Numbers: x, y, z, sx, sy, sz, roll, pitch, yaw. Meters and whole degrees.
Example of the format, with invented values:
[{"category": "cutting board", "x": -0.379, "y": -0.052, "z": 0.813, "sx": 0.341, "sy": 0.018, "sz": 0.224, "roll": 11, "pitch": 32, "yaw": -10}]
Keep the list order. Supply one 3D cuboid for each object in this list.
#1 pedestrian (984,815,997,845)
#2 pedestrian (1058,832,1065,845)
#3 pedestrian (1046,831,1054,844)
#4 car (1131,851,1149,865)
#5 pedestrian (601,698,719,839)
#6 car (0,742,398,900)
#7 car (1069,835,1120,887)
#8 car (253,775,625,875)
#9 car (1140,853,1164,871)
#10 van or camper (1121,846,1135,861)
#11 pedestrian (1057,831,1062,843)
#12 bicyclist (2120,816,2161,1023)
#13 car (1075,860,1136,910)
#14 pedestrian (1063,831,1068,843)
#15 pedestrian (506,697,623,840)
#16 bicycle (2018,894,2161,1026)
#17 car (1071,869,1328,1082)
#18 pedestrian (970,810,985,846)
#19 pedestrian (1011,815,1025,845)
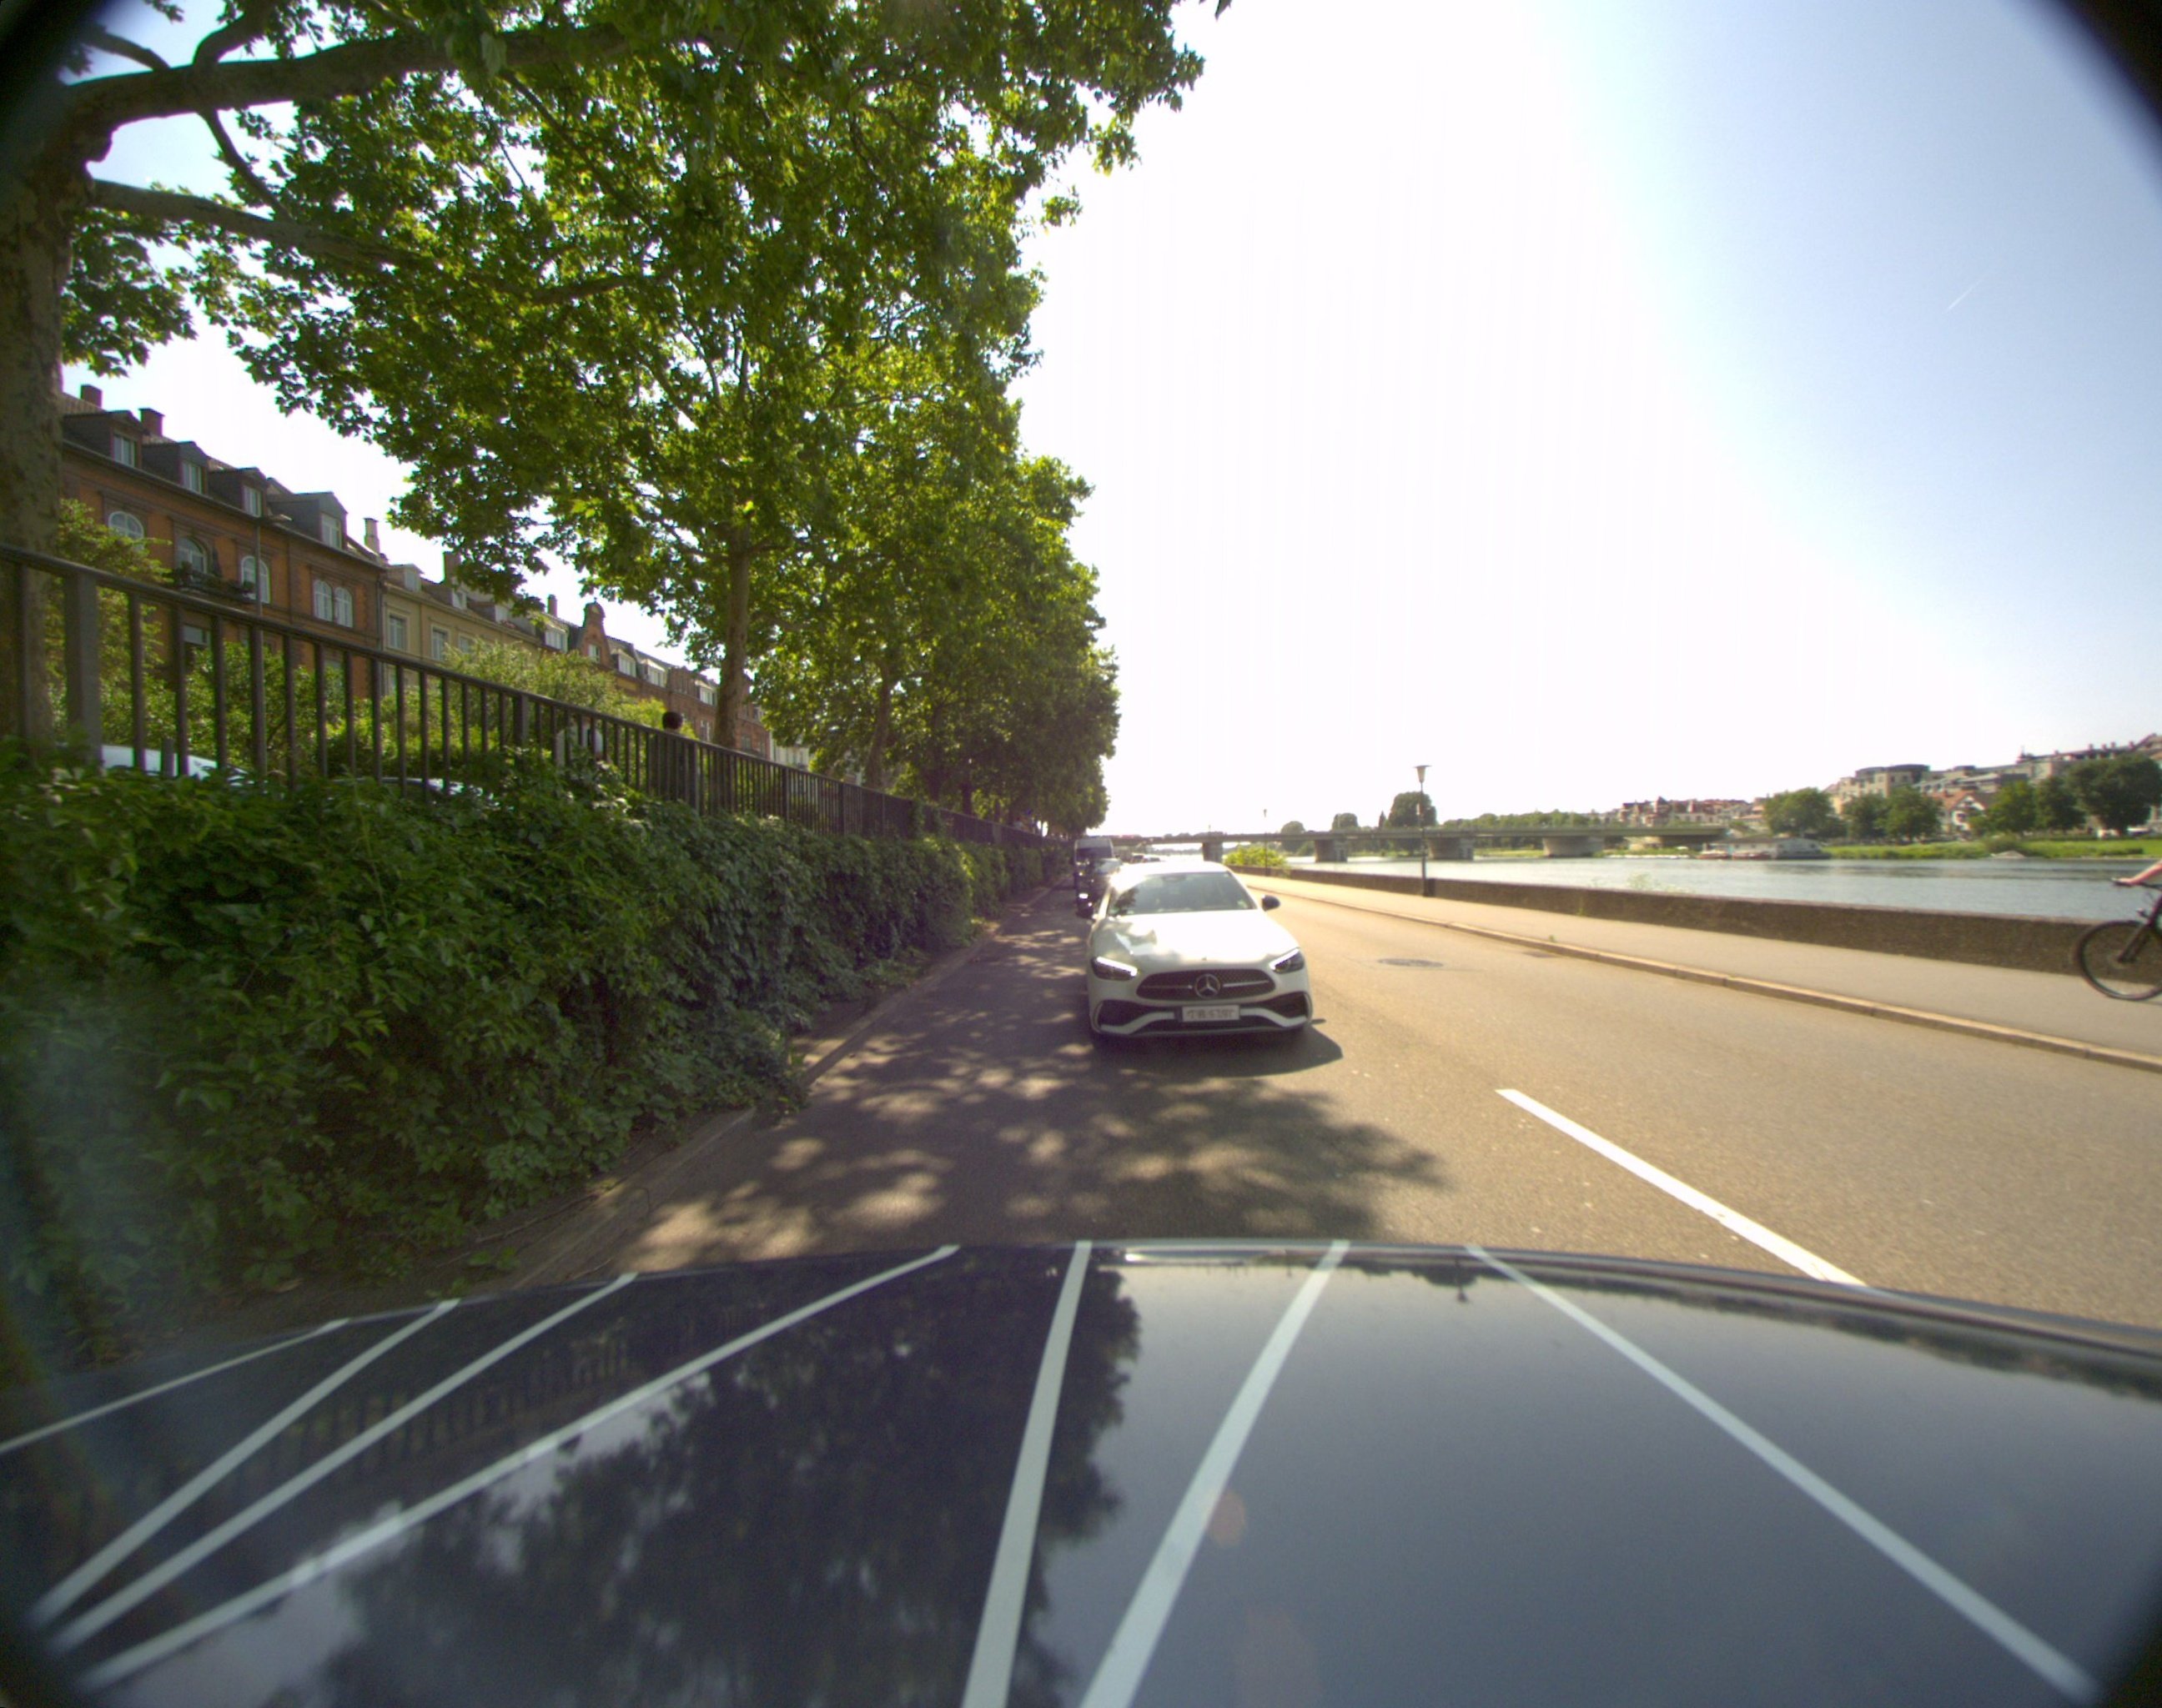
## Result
[{"category": "pedestrian", "x": -4.218, "y": -1.110, "z": 35.403, "sx": 0.586, "sy": 1.411, "sz": 0.589, "roll": -1, "pitch": 1, "yaw": -7}, {"category": "pedestrian", "x": -2.430, "y": -1.916, "z": 93.908, "sx": 0.738, "sy": 1.582, "sz": 0.811, "roll": -1, "pitch": 1, "yaw": 1}, {"category": "pedestrian", "x": -2.873, "y": -1.545, "z": 71.360, "sx": 0.713, "sy": 1.236, "sz": 0.742, "roll": -1, "pitch": 1, "yaw": 0}, {"category": "car", "x": 6.846, "y": 0.446, "z": 88.713, "sx": 1.736, "sy": 1.640, "sz": 4.177, "roll": 0, "pitch": 0, "yaw": 0}, {"category": "pedestrian", "x": -4.339, "y": -0.845, "z": 7.884, "sx": 0.755, "sy": 1.358, "sz": 0.814, "roll": 1, "pitch": 1, "yaw": -1}, {"category": "car", "x": -8.527, "y": -0.299, "z": 6.975, "sx": 3.528, "sy": 1.228, "sz": 1.515, "roll": 1, "pitch": 0, "yaw": 11}, {"category": "car", "x": 0.672, "y": 0.313, "z": 39.135, "sx": 2.351, "sy": 2.429, "sz": 6.208, "roll": -1, "pitch": 0, "yaw": 0}, {"category": "car", "x": -8.931, "y": -0.374, "z": 10.878, "sx": 3.737, "sy": 1.228, "sz": 1.673, "roll": 1, "pitch": 0, "yaw": -8}, {"category": "car", "x": 5.974, "y": 0.649, "z": 64.259, "sx": 1.736, "sy": 1.433, "sz": 4.045, "roll": 0, "pitch": 0, "yaw": 0}, {"category": "van or camper", "x": 7.836, "y": -0.131, "z": 127.381, "sx": 2.082, "sy": 2.384, "sz": 5.385, "roll": 0, "pitch": 0, "yaw": 1}, {"category": "pedestrian", "x": -2.938, "y": -2.361, "z": 103.471, "sx": 0.738, "sy": 1.582, "sz": 0.811, "roll": -1, "pitch": 1, "yaw": 1}, {"category": "bicyclist", "x": 9.014, "y": 0.525, "z": 5.921, "sx": 0.639, "sy": 1.664, "sz": 0.871, "roll": -1, "pitch": 1, "yaw": 0}, {"category": "car", "x": 0.739, "y": 0.925, "z": 24.671, "sx": 1.756, "sy": 1.385, "sz": 4.619, "roll": -1, "pitch": 0, "yaw": 0}, {"category": "pedestrian", "x": -2.100, "y": -2.352, "z": 103.622, "sx": 0.666, "sy": 1.582, "sz": 0.765, "roll": -1, "pitch": 1, "yaw": 1}, {"category": "pedestrian", "x": -5.278, "y": -0.841, "z": 7.810, "sx": 0.645, "sy": 1.358, "sz": 0.794, "roll": 1, "pitch": 1, "yaw": -1}, {"category": "bicycle", "x": 9.076, "y": 0.886, "z": 6.113, "sx": 0.634, "sy": 1.006, "sz": 1.986, "roll": -1, "pitch": 0, "yaw": 0}, {"category": "car", "x": 0.921, "y": 0.939, "z": 7.857, "sx": 1.830, "sy": 1.411, "sz": 4.552, "roll": -2, "pitch": 0, "yaw": 1}, {"category": "pedestrian", "x": -4.827, "y": -1.216, "z": 35.345, "sx": 0.649, "sy": 1.630, "sz": 0.626, "roll": -1, "pitch": 1, "yaw": -7}, {"category": "pedestrian", "x": -3.360, "y": -1.281, "z": 40.379, "sx": 0.666, "sy": 1.582, "sz": 0.651, "roll": -1, "pitch": 1, "yaw": 1}]
